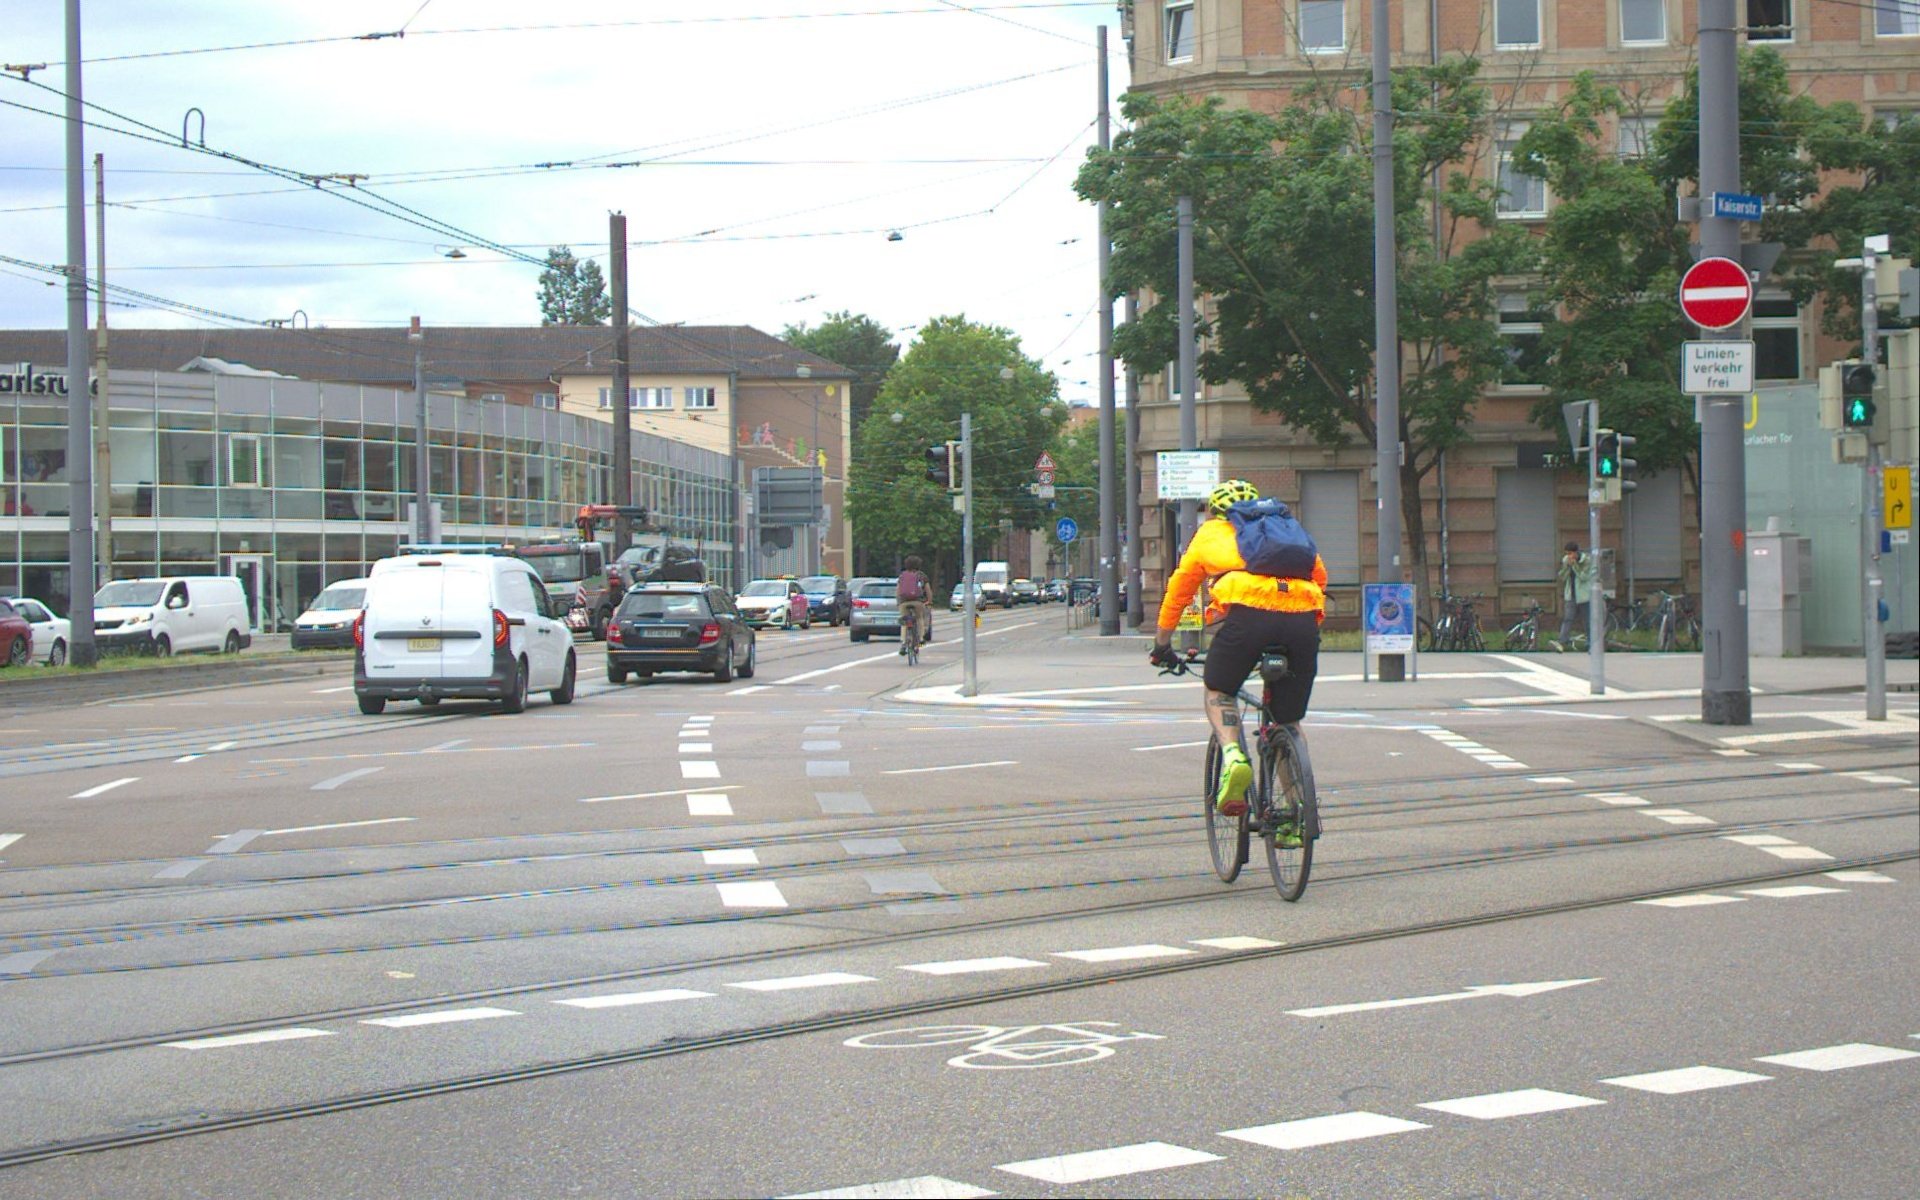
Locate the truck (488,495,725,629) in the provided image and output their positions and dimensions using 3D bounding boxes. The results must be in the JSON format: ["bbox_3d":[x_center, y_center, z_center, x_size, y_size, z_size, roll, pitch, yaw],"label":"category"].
[{"bbox_3d":[-9.712,-1.007,95.752,2.797,3.537,9.214,0,0,20],"label":"truck"}]

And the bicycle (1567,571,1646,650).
[{"bbox_3d":[11.411,0.176,60.585,0.958,1.349,3.118,0,0,18],"label":"bicycle"}]

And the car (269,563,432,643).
[{"bbox_3d":[-14.501,0.048,81.995,1.995,1.832,4.519,0,0,17],"label":"car"}]

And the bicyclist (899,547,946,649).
[{"bbox_3d":[-0.636,-0.039,58.222,0.687,1.702,0.798,-1,0,-7],"label":"bicyclist"}]

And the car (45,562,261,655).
[{"bbox_3d":[-16.869,0.148,72.183,2.158,1.850,5.444,0,0,14],"label":"car"}]

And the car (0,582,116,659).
[{"bbox_3d":[-18.313,0.384,66.194,1.995,1.415,4.747,0,0,14],"label":"car"}]

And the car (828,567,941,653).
[{"bbox_3d":[-1.799,0.231,82.876,1.994,2.007,3.998,0,0,10],"label":"car"}]

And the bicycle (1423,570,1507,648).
[{"bbox_3d":[8.989,0.160,61.097,0.958,1.349,3.118,0,0,18],"label":"bicycle"}]

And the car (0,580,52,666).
[{"bbox_3d":[-16.952,0.404,56.486,1.994,1.415,4.799,0,0,12],"label":"car"}]

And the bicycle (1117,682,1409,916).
[{"bbox_3d":[1.227,0.795,14.369,0.556,0.845,2.074,-1,0,-14],"label":"bicycle"}]

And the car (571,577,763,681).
[{"bbox_3d":[-4.191,0.389,49.808,1.994,1.415,3.999,-1,0,7],"label":"car"}]

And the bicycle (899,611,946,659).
[{"bbox_3d":[-0.640,0.584,58.242,0.619,0.791,1.592,-1,0,-7],"label":"bicycle"}]

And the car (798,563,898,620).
[{"bbox_3d":[-3.704,-0.292,114.412,1.995,1.832,4.519,0,0,17],"label":"car"}]

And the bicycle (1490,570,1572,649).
[{"bbox_3d":[10.126,0.167,60.847,0.958,1.349,3.118,0,0,18],"label":"bicycle"}]

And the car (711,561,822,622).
[{"bbox_3d":[-5.954,-0.265,106.254,1.995,1.832,4.519,0,0,17],"label":"car"}]

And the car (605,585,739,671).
[{"bbox_3d":[-5.189,0.488,62.401,1.853,1.503,3.999,0,0,4],"label":"car"}]

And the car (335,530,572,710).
[{"bbox_3d":[-5.707,0.198,39.223,1.912,1.933,4.131,-1,0,2],"label":"car"}]

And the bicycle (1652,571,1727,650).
[{"bbox_3d":[12.882,0.187,60.652,0.958,1.349,3.118,0,0,18],"label":"bicycle"}]

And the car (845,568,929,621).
[{"bbox_3d":[-2.537,-0.205,120.632,1.994,1.832,4.520,0,0,12],"label":"car"}]

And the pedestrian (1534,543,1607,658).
[{"bbox_3d":[9.240,0.009,52.043,0.909,1.722,0.603,-1,0,-14],"label":"pedestrian"}]

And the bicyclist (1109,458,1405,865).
[{"bbox_3d":[1.220,0.239,14.409,0.827,1.615,1.322,-1,0,-14],"label":"bicyclist"}]
